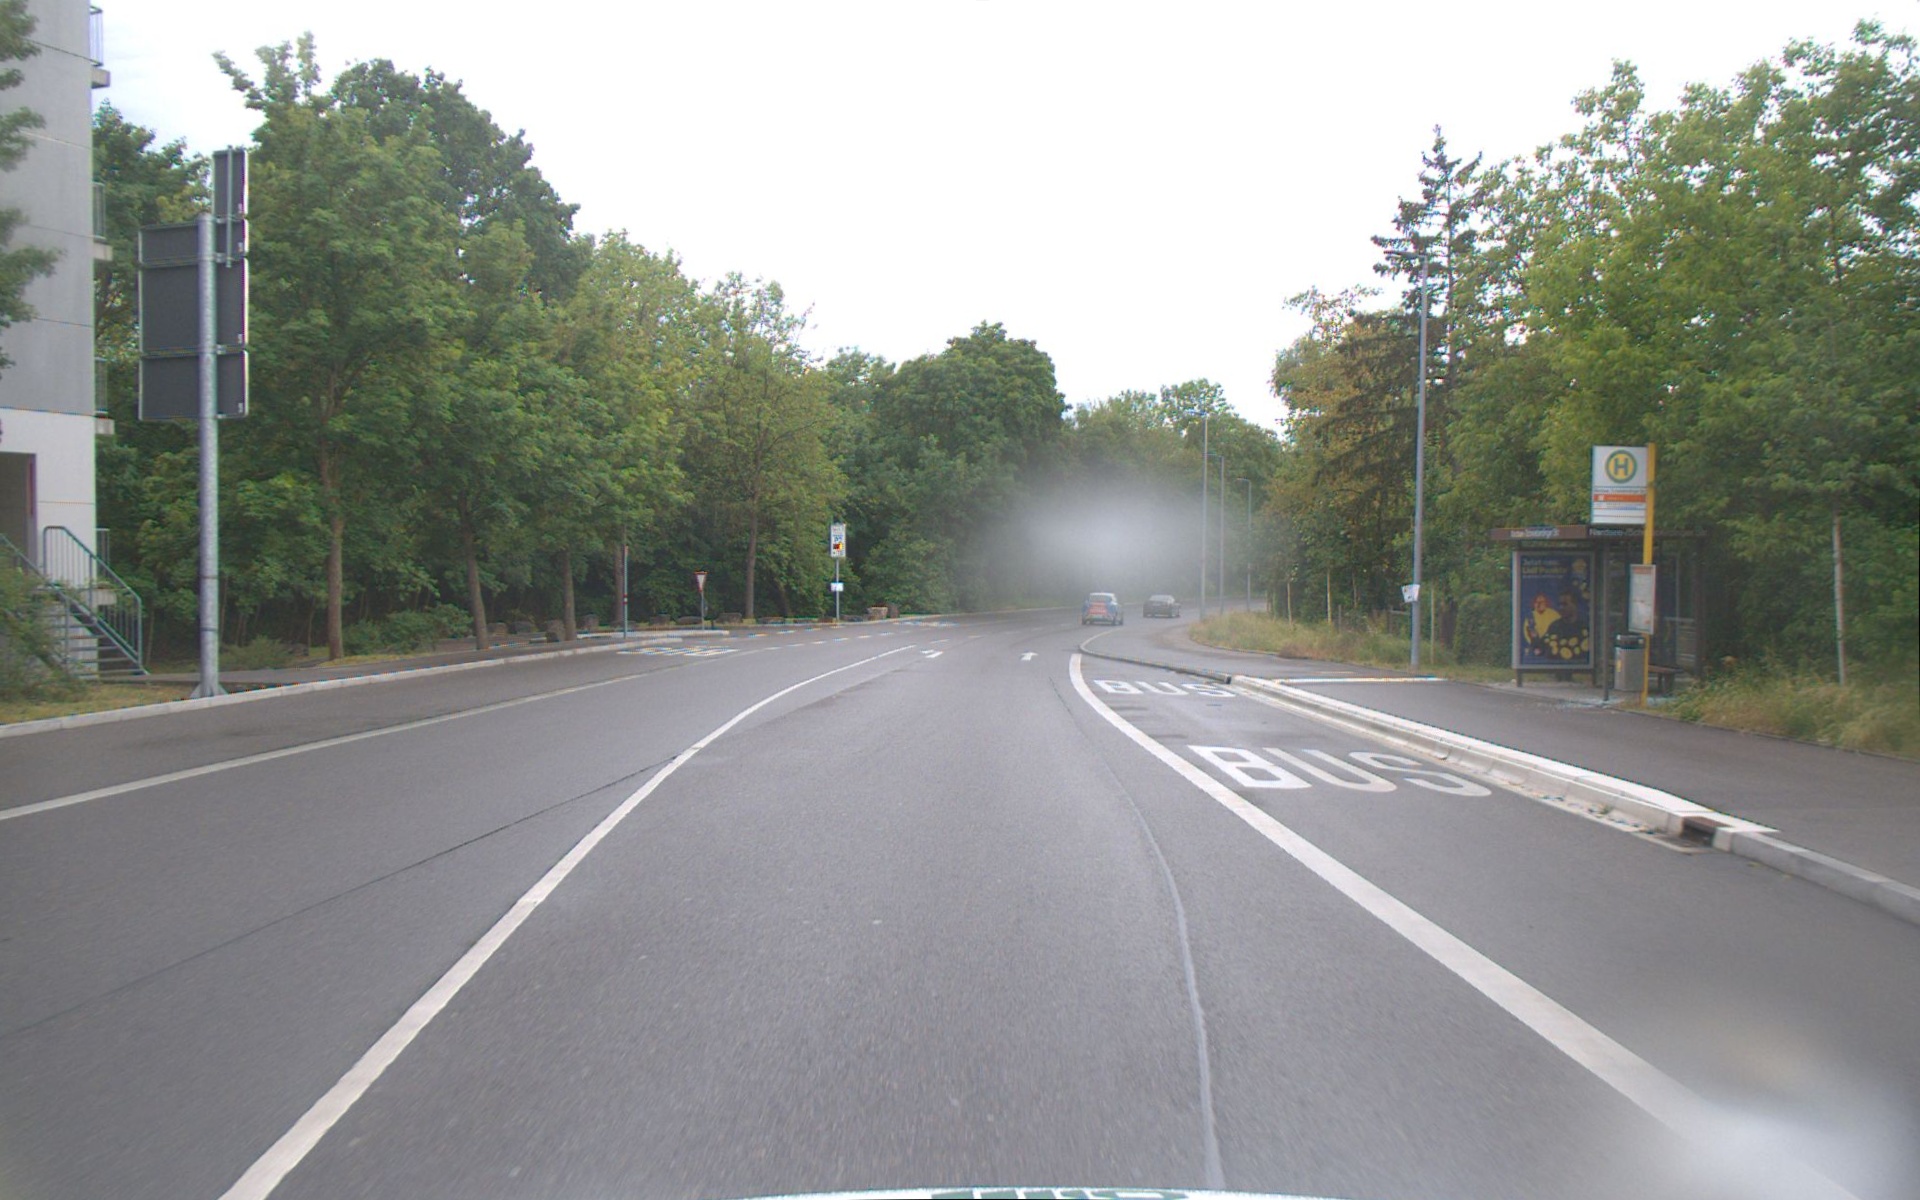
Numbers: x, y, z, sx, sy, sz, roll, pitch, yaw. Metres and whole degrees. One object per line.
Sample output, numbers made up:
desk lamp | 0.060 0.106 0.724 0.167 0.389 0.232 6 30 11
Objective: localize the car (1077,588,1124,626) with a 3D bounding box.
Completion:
car | 6.977 0.302 81.655 1.951 1.718 4.004 -1 2 10

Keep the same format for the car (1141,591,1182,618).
car | 12.411 0.254 101.649 1.886 1.512 3.802 0 2 16
